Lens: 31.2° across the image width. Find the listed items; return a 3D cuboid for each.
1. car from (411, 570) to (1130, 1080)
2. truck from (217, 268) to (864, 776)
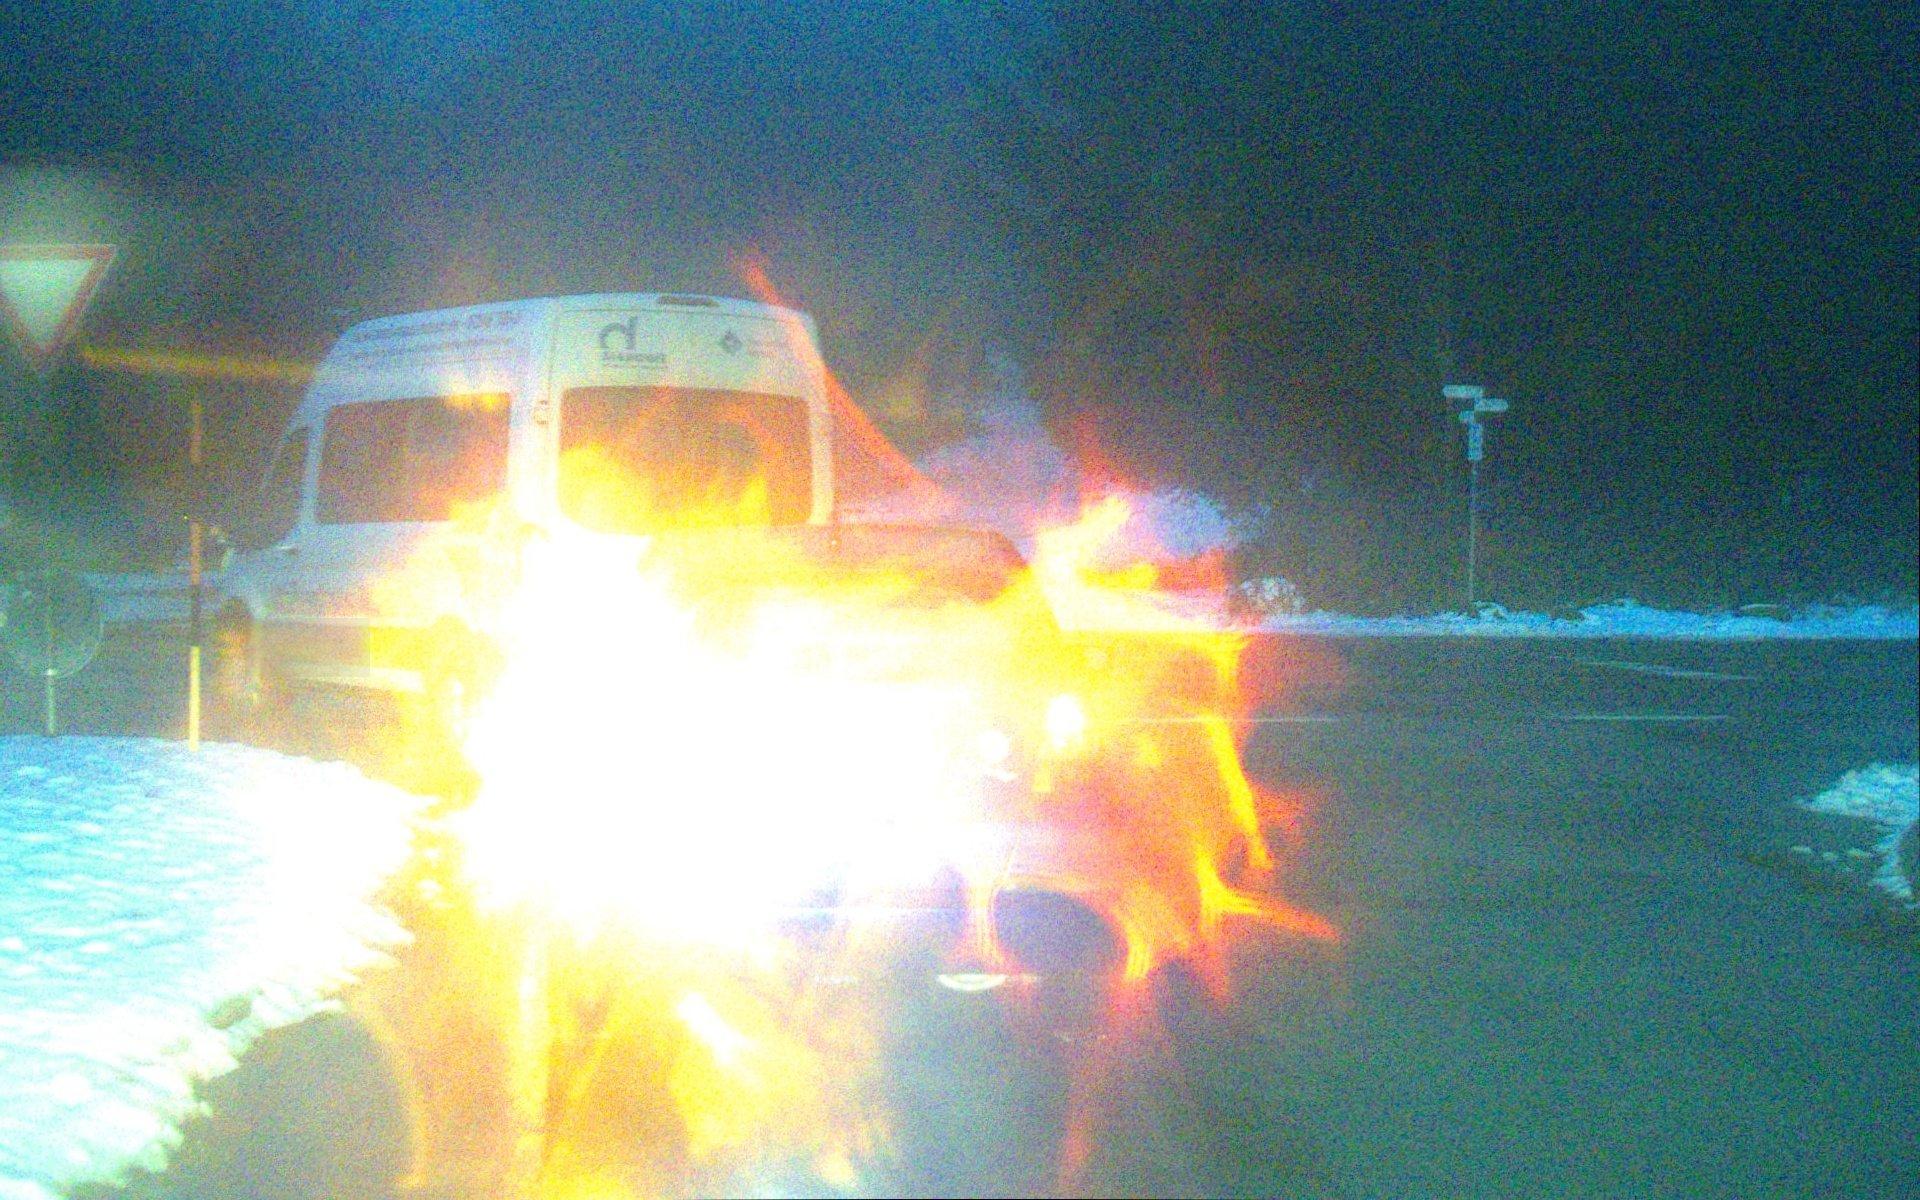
[{"bbox_3d":[-0.570,0.595,11.308,1.922,1.272,4.001,1,2,-2],"label":"car"},{"bbox_3d":[-2.773,-0.452,21.326,2.075,2.736,5.320,1,0,-29],"label":"truck"}]
